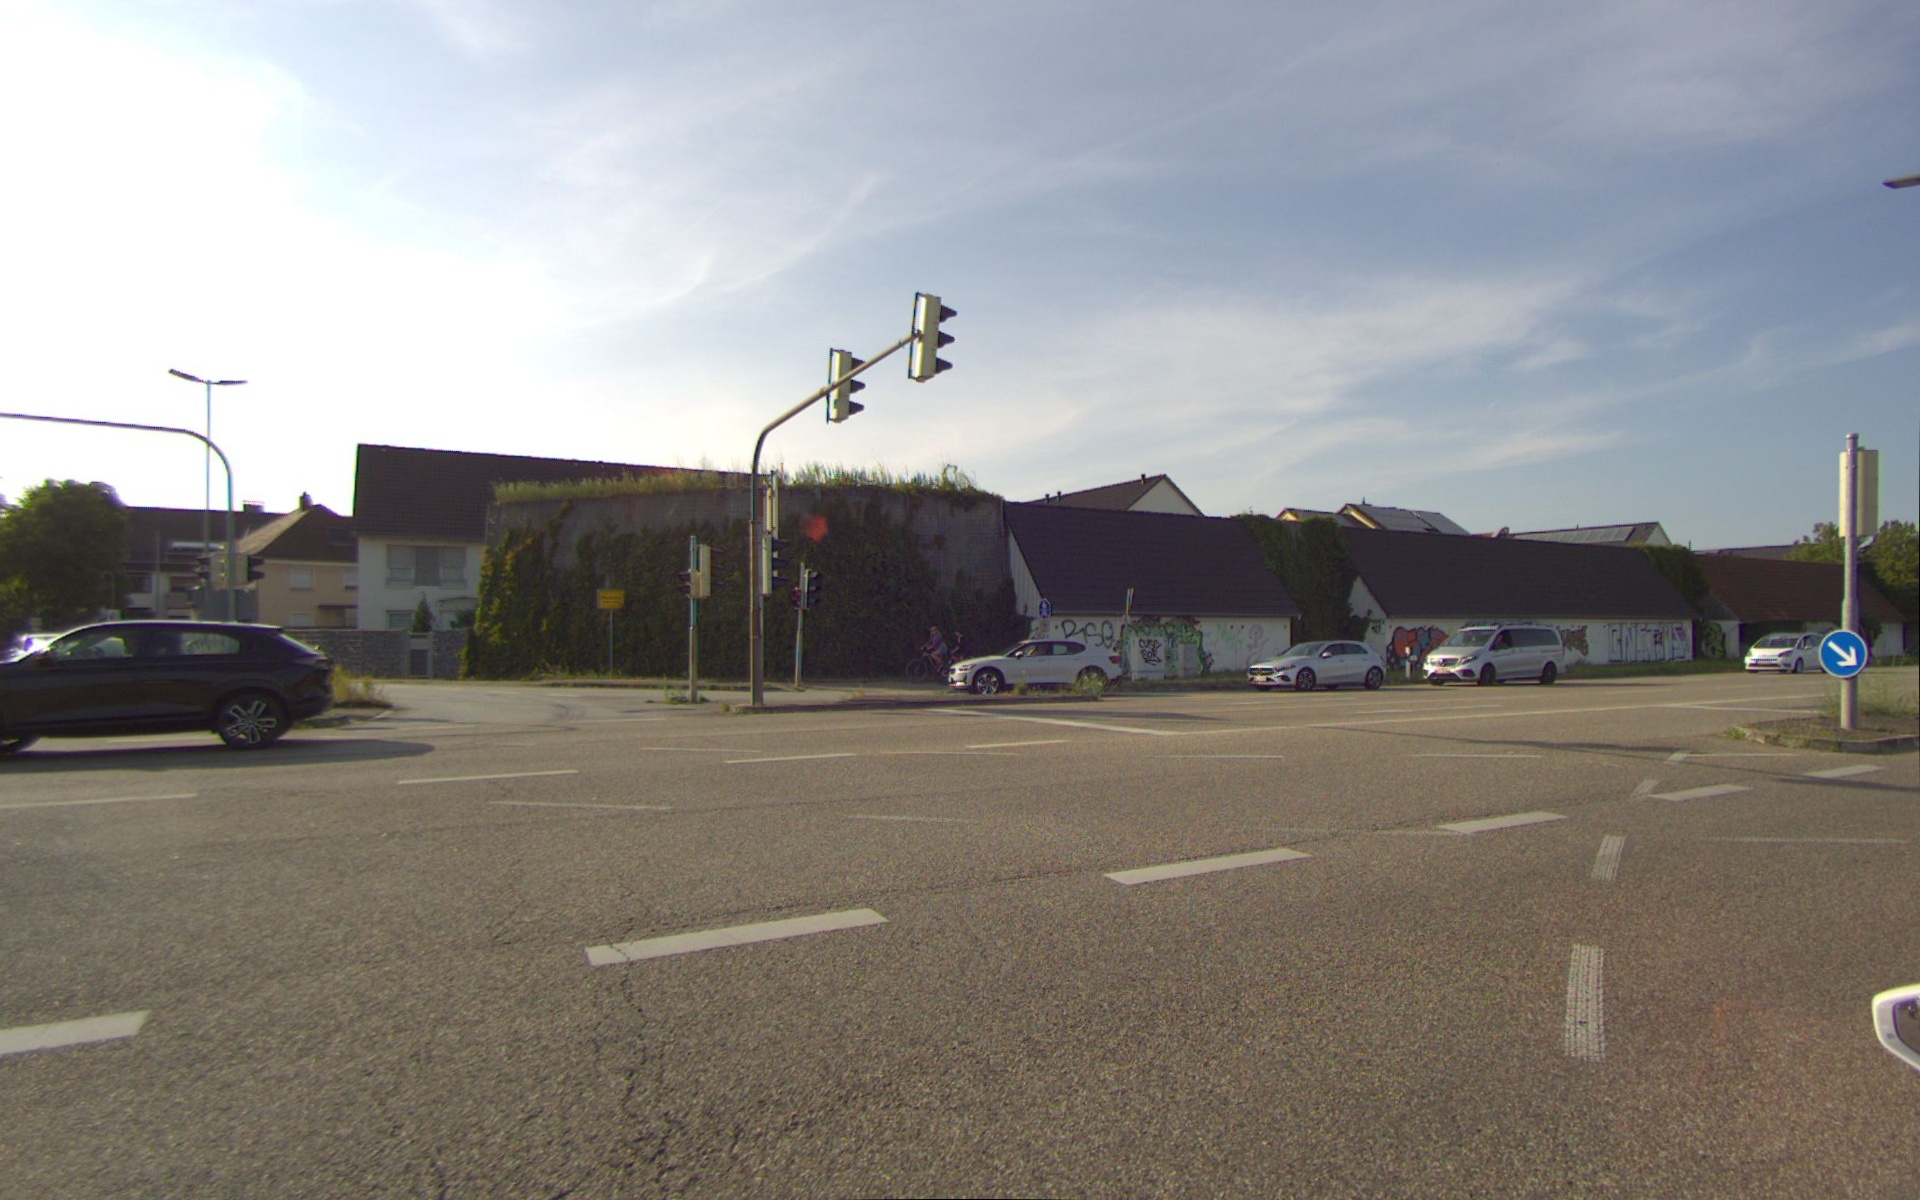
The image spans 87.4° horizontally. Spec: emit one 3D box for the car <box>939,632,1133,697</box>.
[{"bbox_3d":[1.940,1.659,26.216,4.679,1.517,1.951,2,0,-13],"label":"car"}]

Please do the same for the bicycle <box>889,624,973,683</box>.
[{"bbox_3d":[-0.889,1.681,31.502,2.576,1.772,0.750,2,0,-30],"label":"bicycle"}]

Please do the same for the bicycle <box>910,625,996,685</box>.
[{"bbox_3d":[-0.199,1.672,30.698,2.576,1.772,0.750,2,0,-30],"label":"bicycle"}]

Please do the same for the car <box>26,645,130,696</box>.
[{"bbox_3d":[-25.501,1.984,29.003,3.560,1.193,1.749,1,0,40],"label":"car"}]

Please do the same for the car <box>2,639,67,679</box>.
[{"bbox_3d":[-40.670,2.557,44.122,3.376,1.506,1.778,1,0,42],"label":"car"}]

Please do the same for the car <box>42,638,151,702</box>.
[{"bbox_3d":[-21.093,1.717,24.683,1.626,1.431,4.263,1,-4,-36],"label":"car"}]

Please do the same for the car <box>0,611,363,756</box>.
[{"bbox_3d":[-9.773,0.979,12.271,4.197,1.561,1.724,2,-4,-30],"label":"car"}]

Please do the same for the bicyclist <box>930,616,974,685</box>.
[{"bbox_3d":[-0.250,1.522,30.661,1.050,2.040,0.766,2,0,-30],"label":"bicyclist"}]

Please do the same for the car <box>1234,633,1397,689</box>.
[{"bbox_3d":[10.236,1.786,28.923,4.474,1.516,1.699,2,-5,-24],"label":"car"}]

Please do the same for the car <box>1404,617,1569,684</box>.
[{"bbox_3d":[16.705,1.627,31.798,5.385,1.953,1.900,2,-4,-28],"label":"car"}]

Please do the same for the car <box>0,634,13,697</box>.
[{"bbox_3d":[-27.494,1.740,27.471,3.939,1.585,1.817,1,0,39],"label":"car"}]

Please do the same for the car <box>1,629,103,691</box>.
[{"bbox_3d":[-30.805,1.962,34.041,4.119,1.840,1.991,1,0,40],"label":"car"}]

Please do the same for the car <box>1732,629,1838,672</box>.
[{"bbox_3d":[34.611,2.142,42.119,4.700,1.729,1.829,2,-4,-30],"label":"car"}]

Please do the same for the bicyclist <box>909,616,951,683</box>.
[{"bbox_3d":[-0.943,1.537,31.442,1.050,2.040,0.766,2,0,-30],"label":"bicyclist"}]
